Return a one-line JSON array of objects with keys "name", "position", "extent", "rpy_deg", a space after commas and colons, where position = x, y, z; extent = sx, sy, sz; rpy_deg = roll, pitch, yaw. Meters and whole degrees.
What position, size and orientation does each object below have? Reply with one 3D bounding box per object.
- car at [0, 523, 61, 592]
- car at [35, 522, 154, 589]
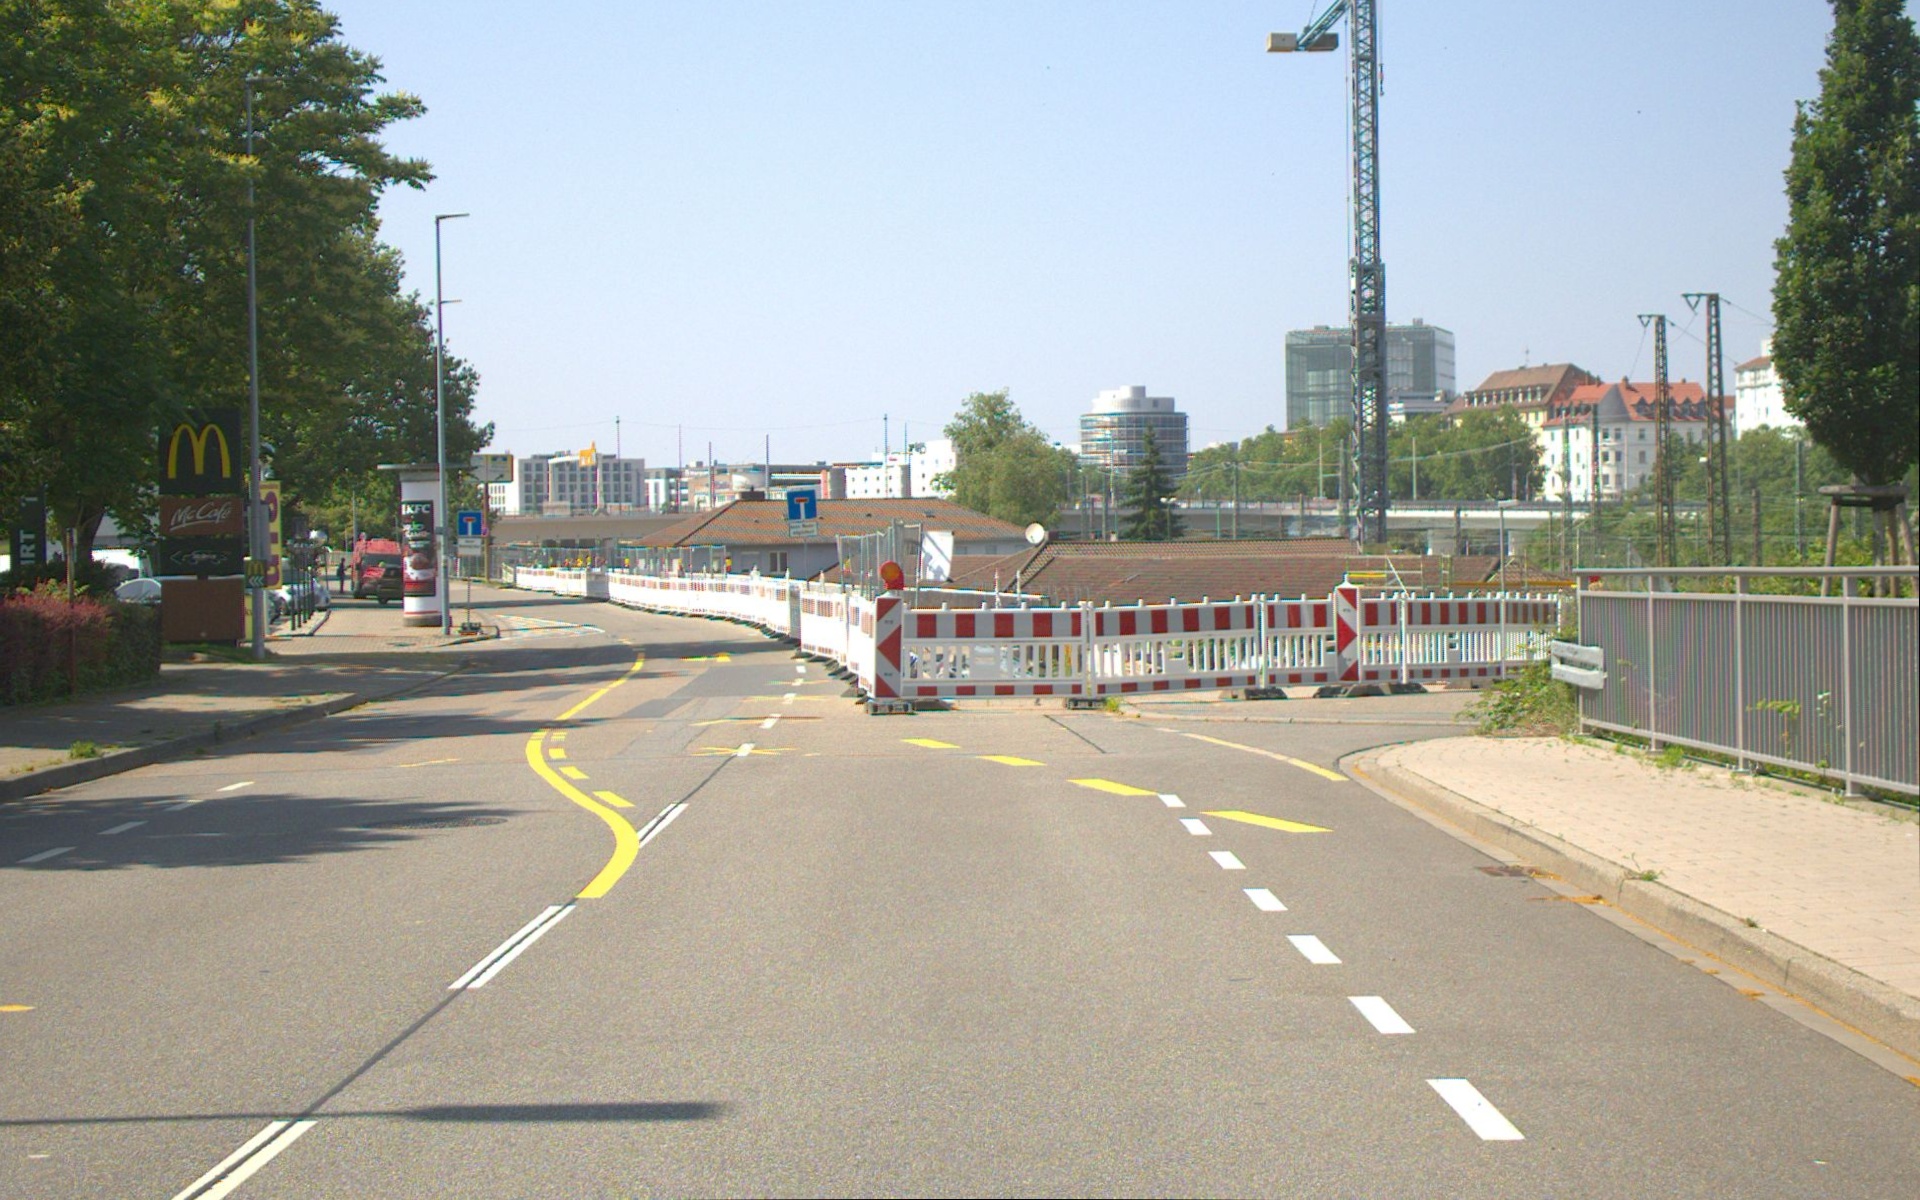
[{"name": "car", "position": [-27.407, -1.192, 97.733], "extent": [1.994, 1.897, 3.998], "rpy_deg": [-1, 1, -40]}, {"name": "car", "position": [-25.581, -1.303, 101.526], "extent": [1.823, 1.923, 3.998], "rpy_deg": [-1, 1, -40]}]
